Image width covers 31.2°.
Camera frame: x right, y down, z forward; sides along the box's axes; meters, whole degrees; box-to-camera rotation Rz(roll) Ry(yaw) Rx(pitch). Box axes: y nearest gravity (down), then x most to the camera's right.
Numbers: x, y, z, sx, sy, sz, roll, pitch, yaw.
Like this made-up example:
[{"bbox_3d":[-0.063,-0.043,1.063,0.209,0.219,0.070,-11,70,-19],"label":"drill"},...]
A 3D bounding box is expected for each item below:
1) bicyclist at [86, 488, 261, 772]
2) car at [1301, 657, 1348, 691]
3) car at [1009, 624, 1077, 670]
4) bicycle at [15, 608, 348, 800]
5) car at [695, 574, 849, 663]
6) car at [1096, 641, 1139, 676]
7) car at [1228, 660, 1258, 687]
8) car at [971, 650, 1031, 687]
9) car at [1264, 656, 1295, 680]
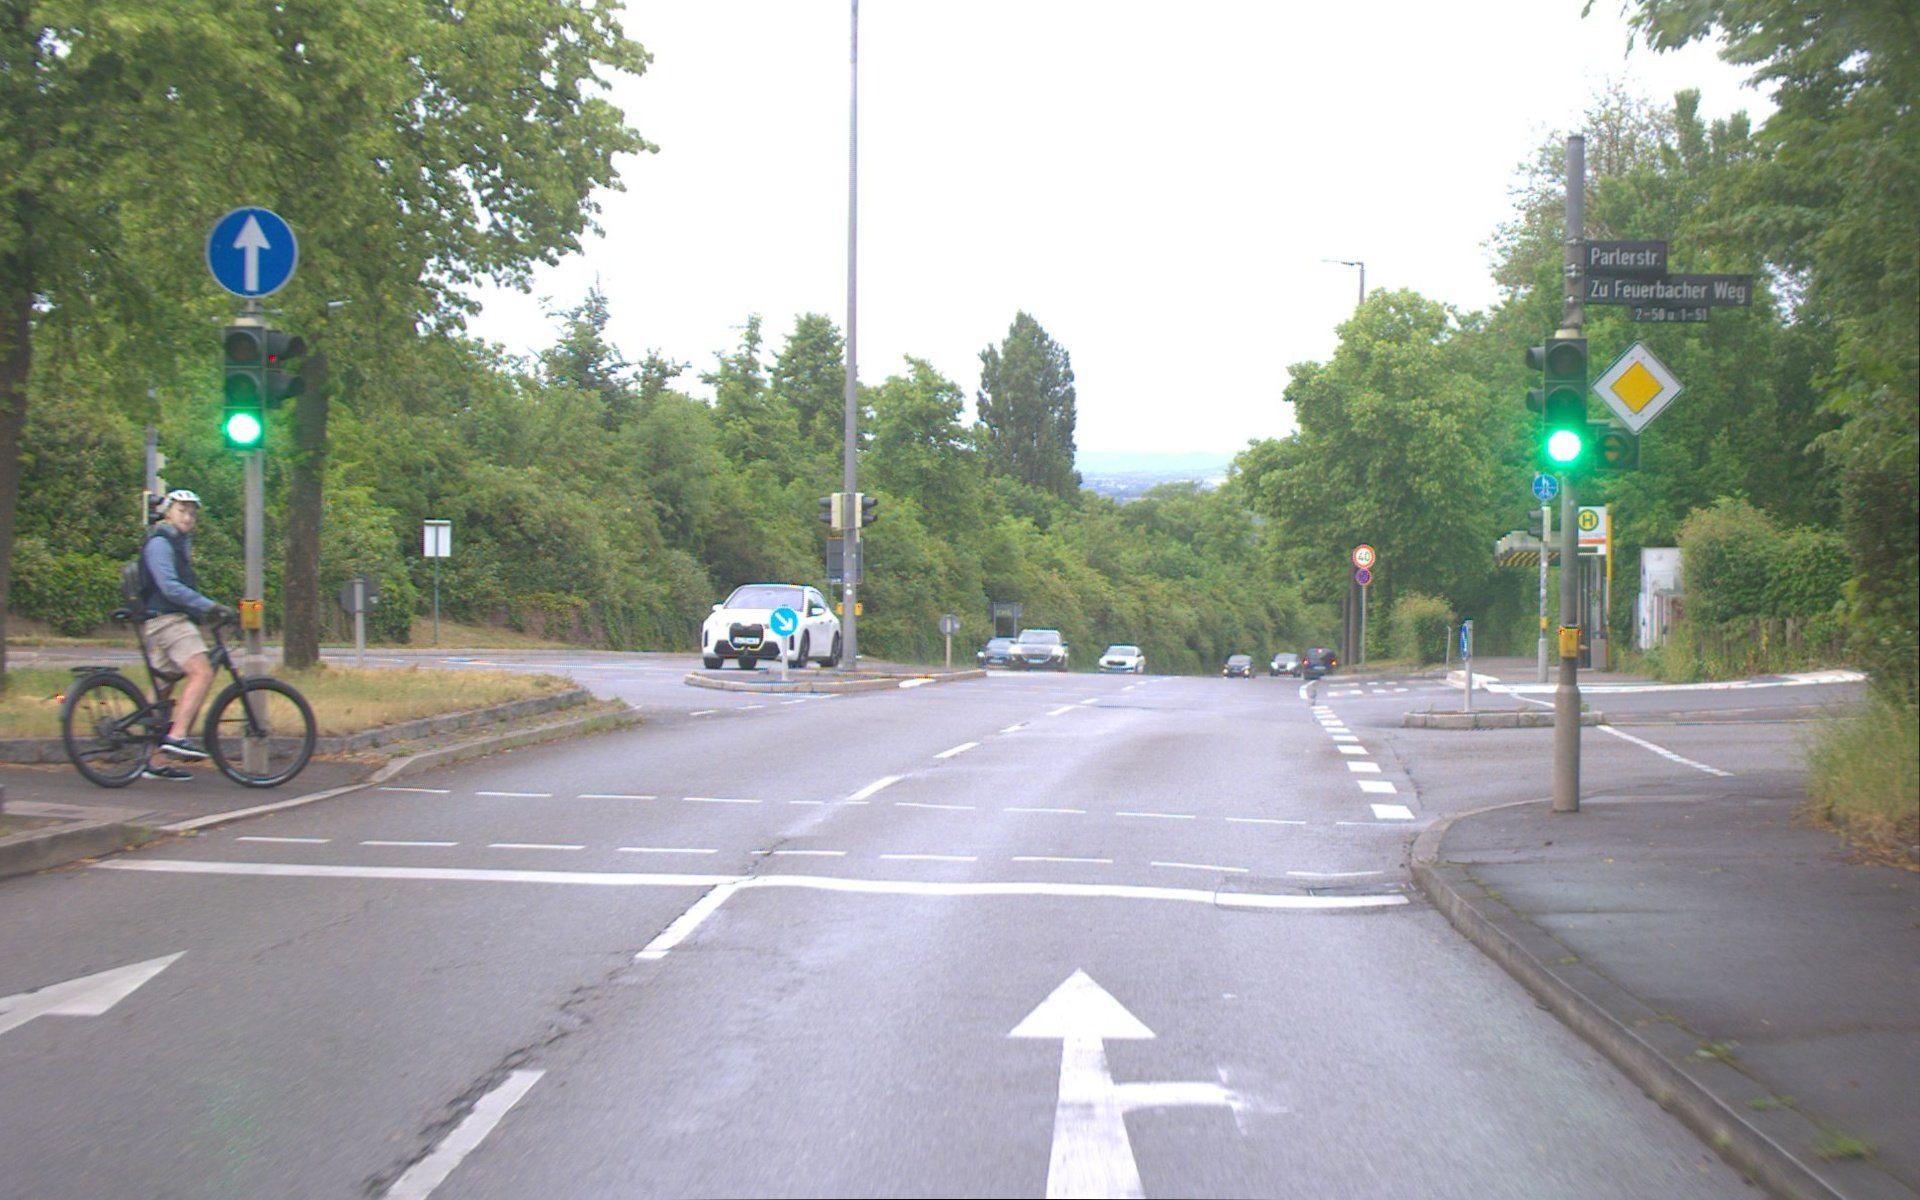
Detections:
[{"bbox_3d":[-4.950,0.199,21.659,0.724,1.746,0.799,-2,-3,39],"label":"bicyclist"},{"bbox_3d":[18.459,3.714,173.916,1.946,1.585,3.925,1,0,12],"label":"car"},{"bbox_3d":[2.780,1.579,114.776,1.778,1.467,4.643,2,-1,7],"label":"car"},{"bbox_3d":[-4.854,0.631,21.573,0.553,1.139,2.135,2,0,39],"label":"bicycle"},{"bbox_3d":[-3.655,0.367,67.815,1.946,1.630,5.003,1,0,9],"label":"car"},{"bbox_3d":[7.787,2.877,169.607,1.724,1.585,3.999,1,0,8],"label":"car"},{"bbox_3d":[17.983,4.668,218.308,1.725,1.560,3.891,4,-1,7],"label":"car"},{"bbox_3d":[1.668,2.763,139.385,1.820,1.433,4.452,1,-1,8],"label":"car"},{"bbox_3d":[22.453,4.790,241.582,1.865,1.584,3.891,4,-1,9],"label":"car"}]
